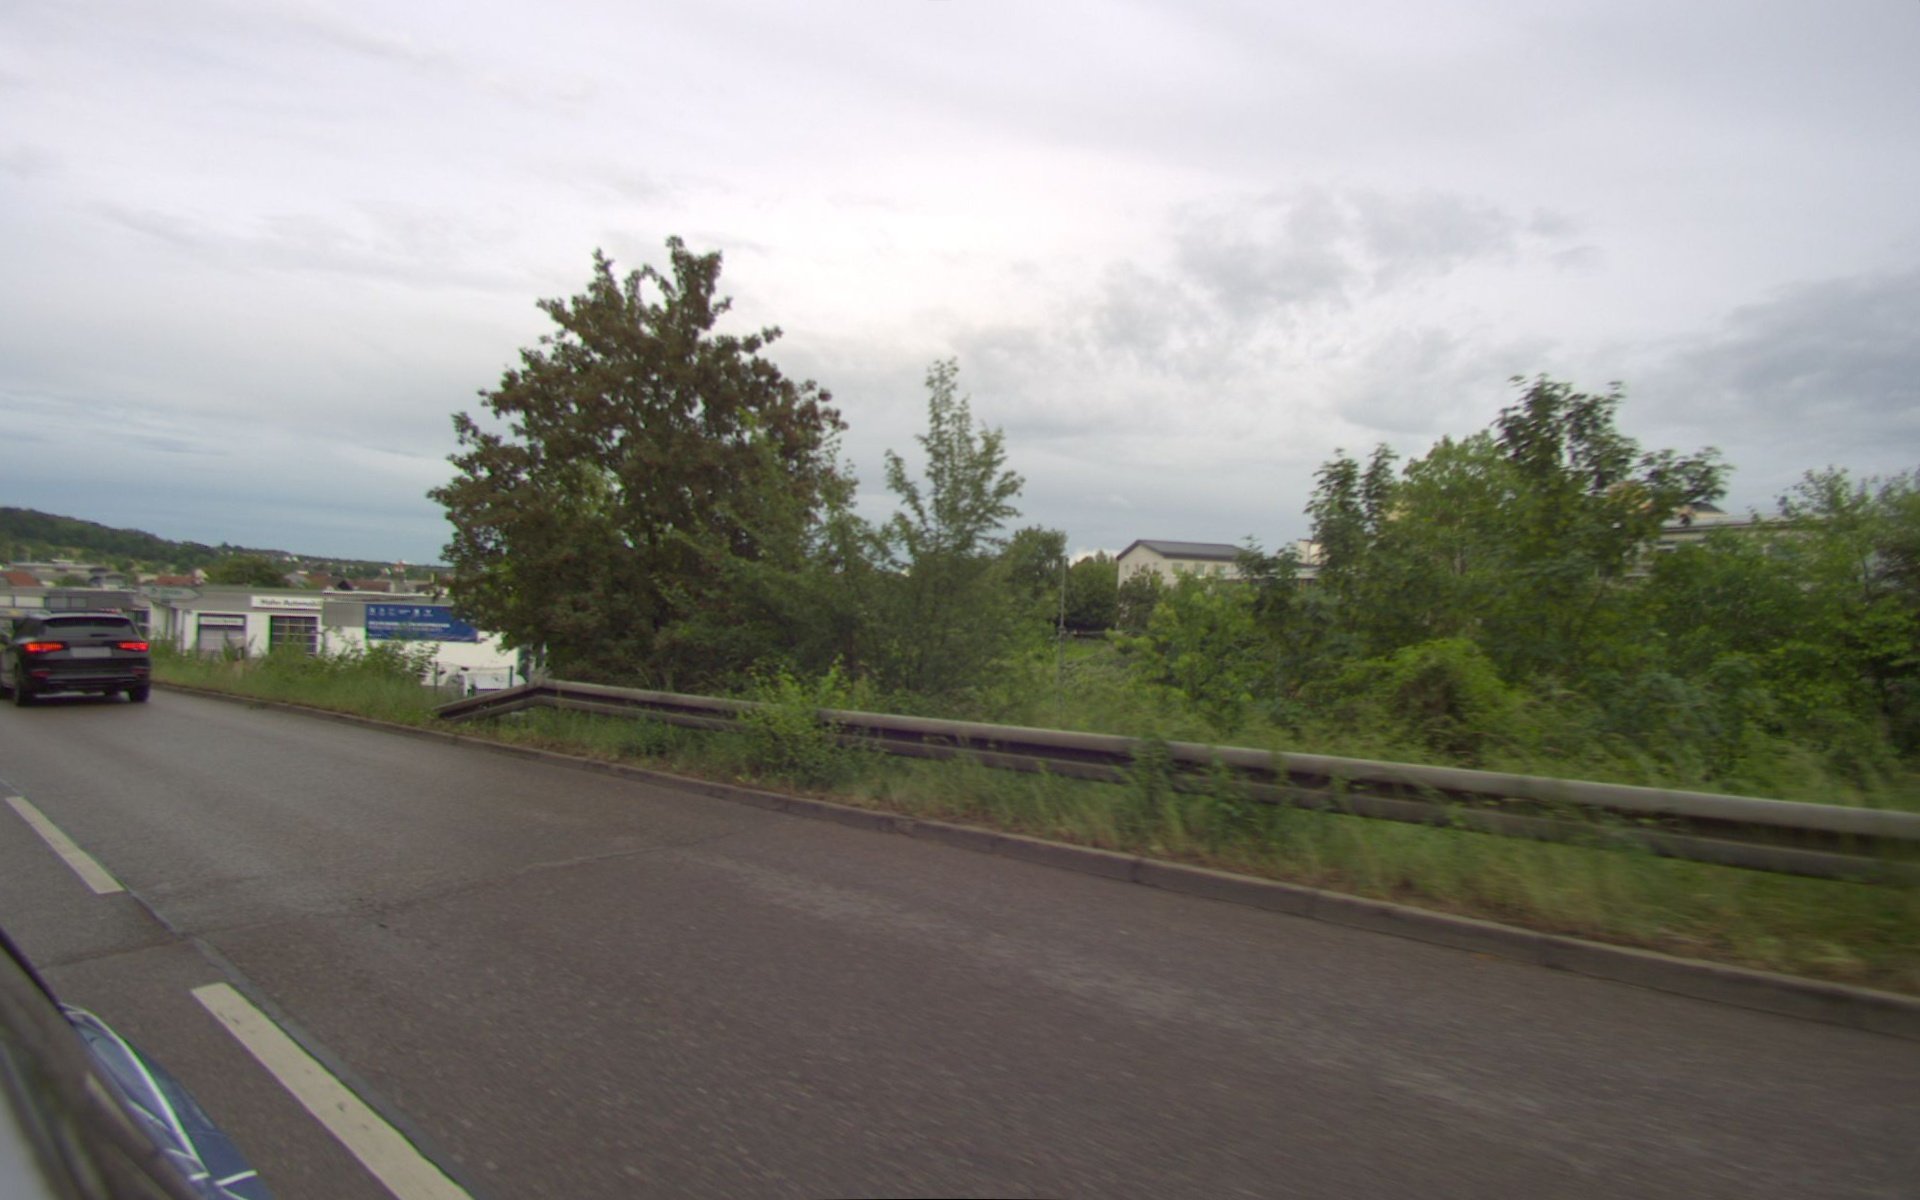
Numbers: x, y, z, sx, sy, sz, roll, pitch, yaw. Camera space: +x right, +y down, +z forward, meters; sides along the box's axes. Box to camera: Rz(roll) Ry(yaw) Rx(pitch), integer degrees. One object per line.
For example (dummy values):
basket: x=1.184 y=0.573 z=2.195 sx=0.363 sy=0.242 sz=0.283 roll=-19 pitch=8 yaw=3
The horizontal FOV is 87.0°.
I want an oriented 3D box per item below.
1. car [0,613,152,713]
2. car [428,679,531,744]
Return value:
car: x=-16.112 y=1.052 z=18.216 sx=4.078 sy=1.597 sz=1.712 roll=-1 pitch=-2 yaw=41
car: x=-14.881 y=3.389 z=31.208 sx=1.957 sy=1.704 sz=4.939 roll=8 pitch=-7 yaw=-34
